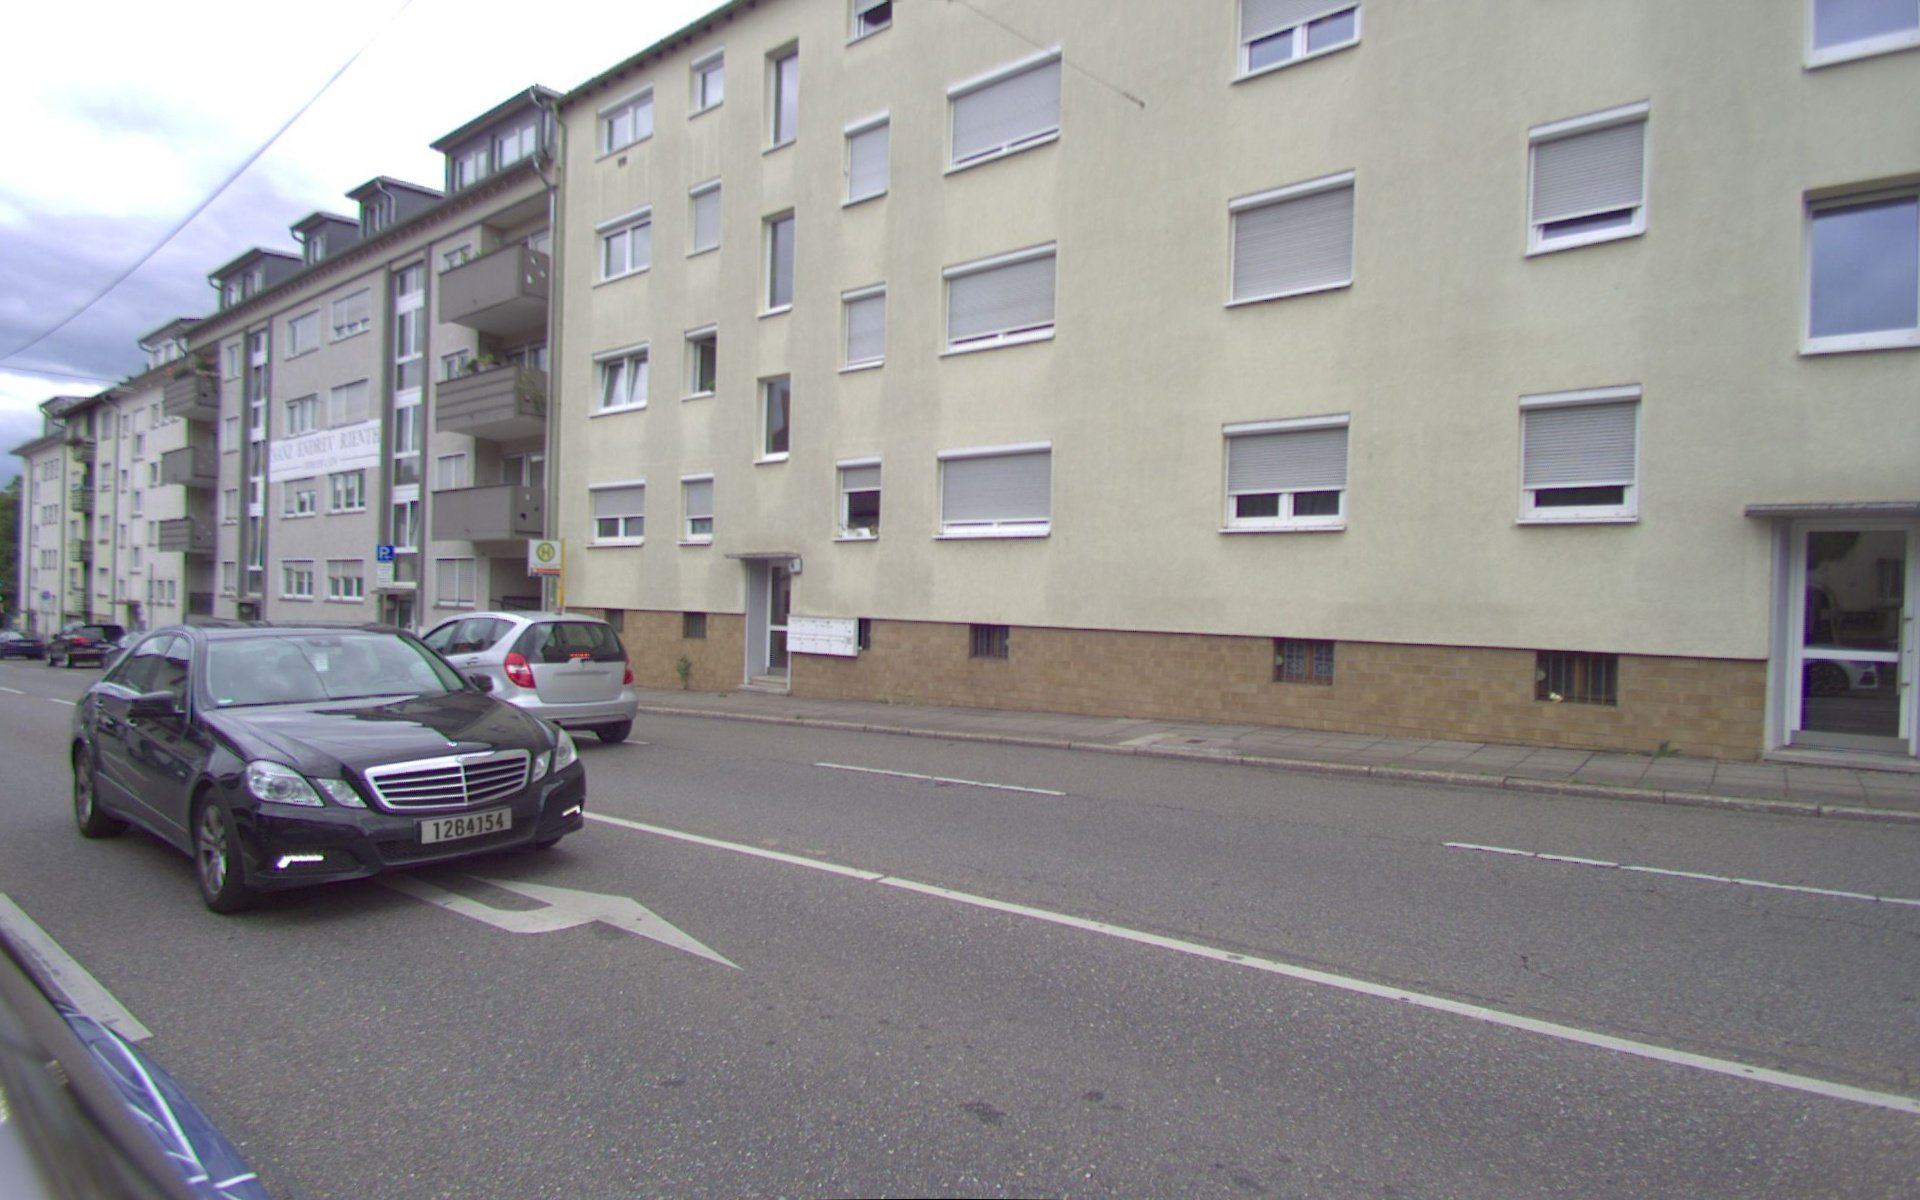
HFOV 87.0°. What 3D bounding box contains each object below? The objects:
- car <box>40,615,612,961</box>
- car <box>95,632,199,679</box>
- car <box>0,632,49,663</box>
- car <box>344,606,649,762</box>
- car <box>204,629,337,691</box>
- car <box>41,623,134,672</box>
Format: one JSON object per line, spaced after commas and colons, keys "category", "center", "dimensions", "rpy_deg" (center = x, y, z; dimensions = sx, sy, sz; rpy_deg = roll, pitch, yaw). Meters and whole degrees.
{"category": "car", "center": [-4.224, 0.840, 6.423], "dimensions": [4.440, 1.465, 1.730], "rpy_deg": [-1, -1, 39]}
{"category": "car", "center": [-26.514, 1.751, 32.966], "dimensions": [4.302, 1.416, 1.751], "rpy_deg": [-1, -2, 39]}
{"category": "car", "center": [-46.418, 2.311, 49.719], "dimensions": [4.305, 1.391, 1.851], "rpy_deg": [-1, -4, 41]}
{"category": "car", "center": [-5.772, 0.907, 12.439], "dimensions": [3.992, 1.630, 1.693], "rpy_deg": [-1, -1, 36]}
{"category": "car", "center": [-17.814, 1.517, 26.104], "dimensions": [3.797, 1.447, 1.751], "rpy_deg": [-1, -4, 39]}
{"category": "car", "center": [-33.489, 1.800, 38.819], "dimensions": [4.302, 1.767, 1.852], "rpy_deg": [-1, -4, 39]}
